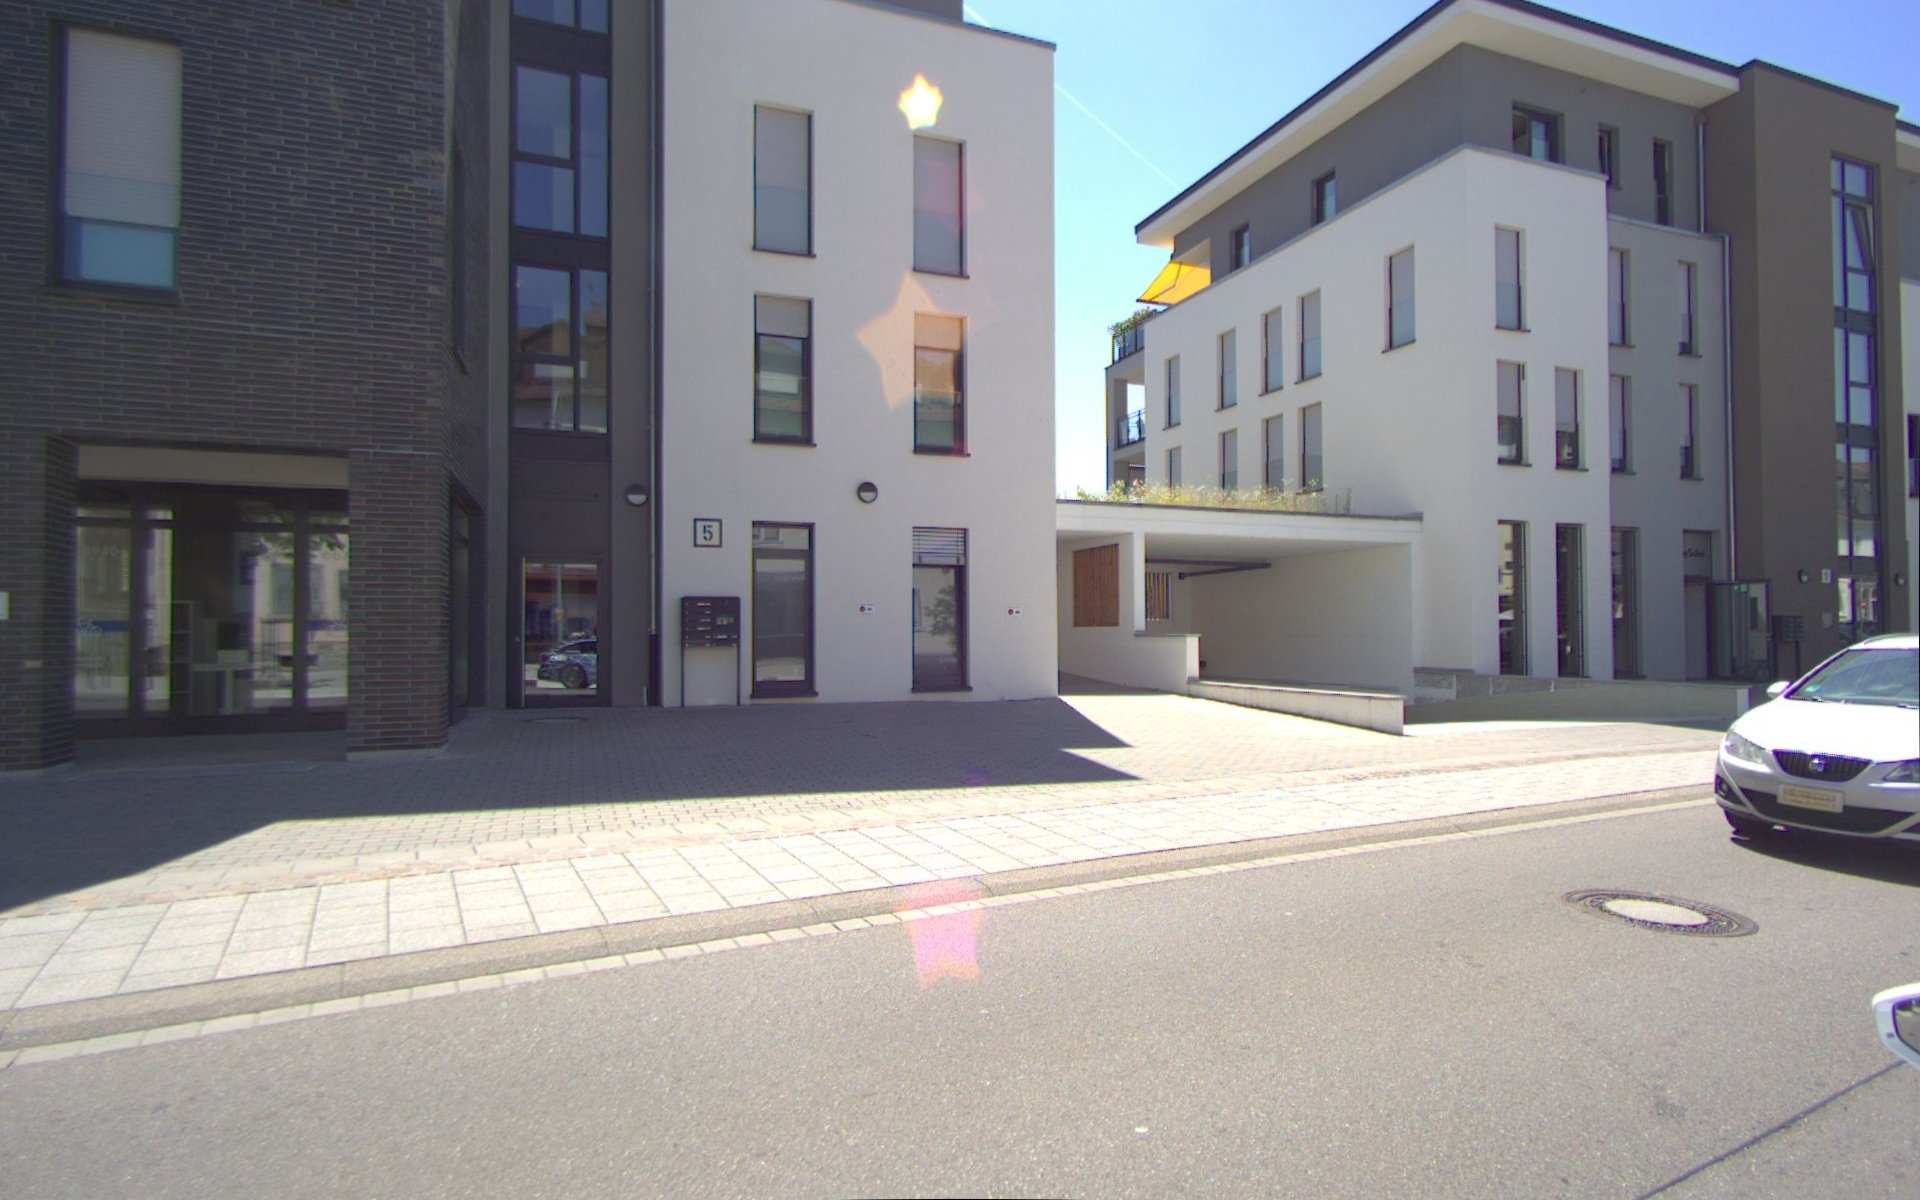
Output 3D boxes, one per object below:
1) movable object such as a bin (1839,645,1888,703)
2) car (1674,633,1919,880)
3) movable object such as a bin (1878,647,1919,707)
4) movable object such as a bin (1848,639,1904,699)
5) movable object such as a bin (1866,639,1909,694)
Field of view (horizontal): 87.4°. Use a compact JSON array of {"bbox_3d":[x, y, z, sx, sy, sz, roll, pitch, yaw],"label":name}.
[{"bbox_3d":[16.344,1.325,18.175,0.580,1.011,0.481,1,-1,-28],"label":"movable object such as a bin"},{"bbox_3d":[7.102,0.965,7.194,3.797,1.415,1.661,1,0,-27],"label":"car"},{"bbox_3d":[16.507,1.341,17.580,0.519,1.011,0.481,0,-1,-25],"label":"movable object such as a bin"},{"bbox_3d":[17.449,1.296,19.139,0.642,1.110,0.687,1,-1,-38],"label":"movable object such as a bin"},{"bbox_3d":[18.193,1.300,19.707,0.477,1.053,0.550,1,-1,-38],"label":"movable object such as a bin"}]
